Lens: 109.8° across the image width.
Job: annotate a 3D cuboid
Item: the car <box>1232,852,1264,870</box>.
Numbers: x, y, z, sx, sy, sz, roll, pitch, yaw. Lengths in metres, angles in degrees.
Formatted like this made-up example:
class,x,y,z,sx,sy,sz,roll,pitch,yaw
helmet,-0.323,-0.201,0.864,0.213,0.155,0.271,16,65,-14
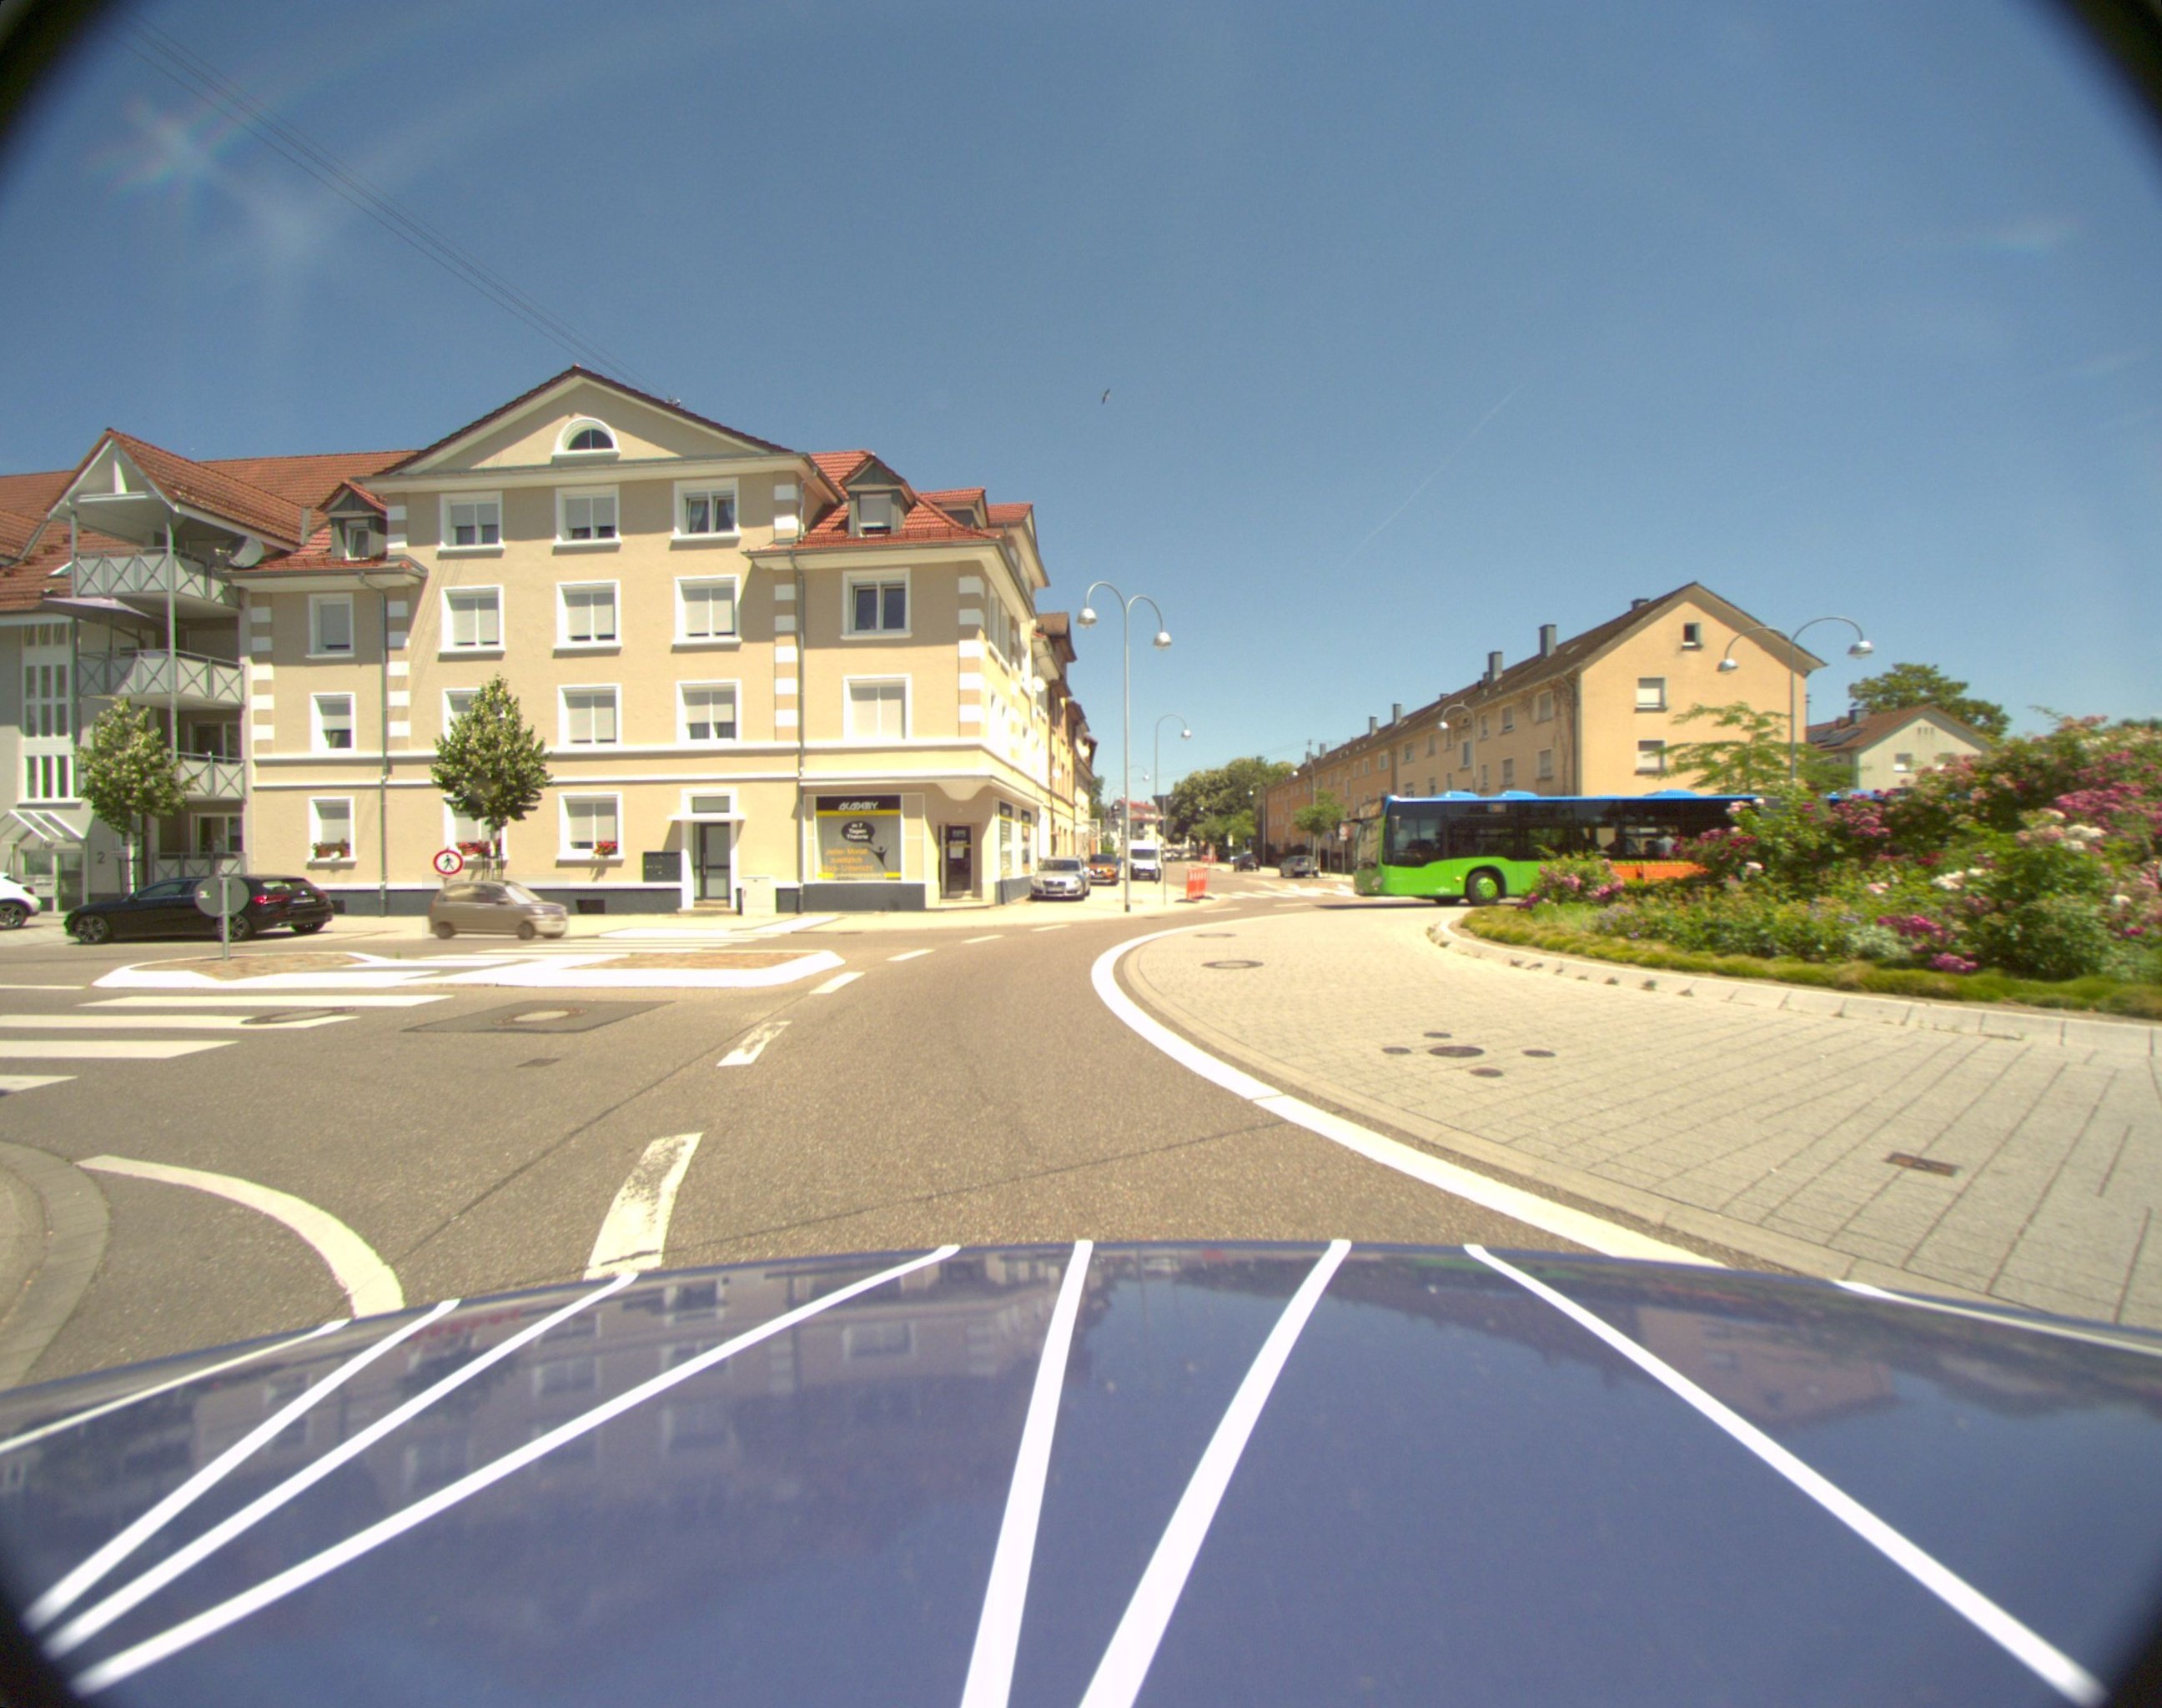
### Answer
class,x,y,z,sx,sy,sz,roll,pitch,yaw
car,15.208,0.660,69.278,1.862,1.498,4.562,-2,0,0

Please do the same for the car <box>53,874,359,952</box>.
class,x,y,z,sx,sy,sz,roll,pitch,yaw
car,-19.228,1.242,16.914,4.172,1.428,1.904,-1,2,-9

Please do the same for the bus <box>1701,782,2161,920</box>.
class,x,y,z,sx,sy,sz,roll,pitch,yaw
bus,22.269,-0.012,20.110,8.913,3.091,2.832,-2,-1,5

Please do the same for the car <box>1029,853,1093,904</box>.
class,x,y,z,sx,sy,sz,roll,pitch,yaw
car,-0.598,0.774,26.561,1.768,1.521,4.690,1,1,4

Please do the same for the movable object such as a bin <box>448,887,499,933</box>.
class,x,y,z,sx,sy,sz,roll,pitch,yaw
movable object such as a bin,-14.714,1.342,18.414,0.703,1.049,0.642,-1,1,3

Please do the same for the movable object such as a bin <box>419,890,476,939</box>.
class,x,y,z,sx,sy,sz,roll,pitch,yaw
movable object such as a bin,-14.612,1.388,17.549,0.703,1.049,0.670,-1,2,3

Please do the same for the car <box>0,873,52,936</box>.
class,x,y,z,sx,sy,sz,roll,pitch,yaw
car,-28.029,1.327,17.745,1.904,1.515,4.297,-1,1,8

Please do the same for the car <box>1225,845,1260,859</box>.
class,x,y,z,sx,sy,sz,roll,pitch,yaw
car,22.787,-0.250,107.383,4.438,1.863,1.817,-2,1,-8

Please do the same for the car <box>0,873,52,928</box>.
class,x,y,z,sx,sy,sz,roll,pitch,yaw
car,-30.241,1.322,19.376,1.904,1.428,4.297,-1,1,8

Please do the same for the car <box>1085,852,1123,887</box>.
class,x,y,z,sx,sy,sz,roll,pitch,yaw
car,1.229,0.740,38.673,1.676,1.610,4.364,2,0,4

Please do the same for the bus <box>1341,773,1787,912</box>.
class,x,y,z,sx,sy,sz,roll,pitch,yaw
bus,12.714,-0.224,20.849,10.073,3.304,2.966,-1,-2,4

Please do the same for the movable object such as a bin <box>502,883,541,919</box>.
class,x,y,z,sx,sy,sz,roll,pitch,yaw
movable object such as a bin,-15.541,1.299,21.119,0.579,0.930,0.656,-1,2,-4

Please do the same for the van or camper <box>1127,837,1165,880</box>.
class,x,y,z,sx,sy,sz,roll,pitch,yaw
van or camper,4.060,0.258,48.319,2.170,2.574,5.767,1,0,3

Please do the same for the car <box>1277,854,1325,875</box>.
class,x,y,z,sx,sy,sz,roll,pitch,yaw
car,15.224,0.705,52.850,1.999,1.412,4.087,-1,0,-2
